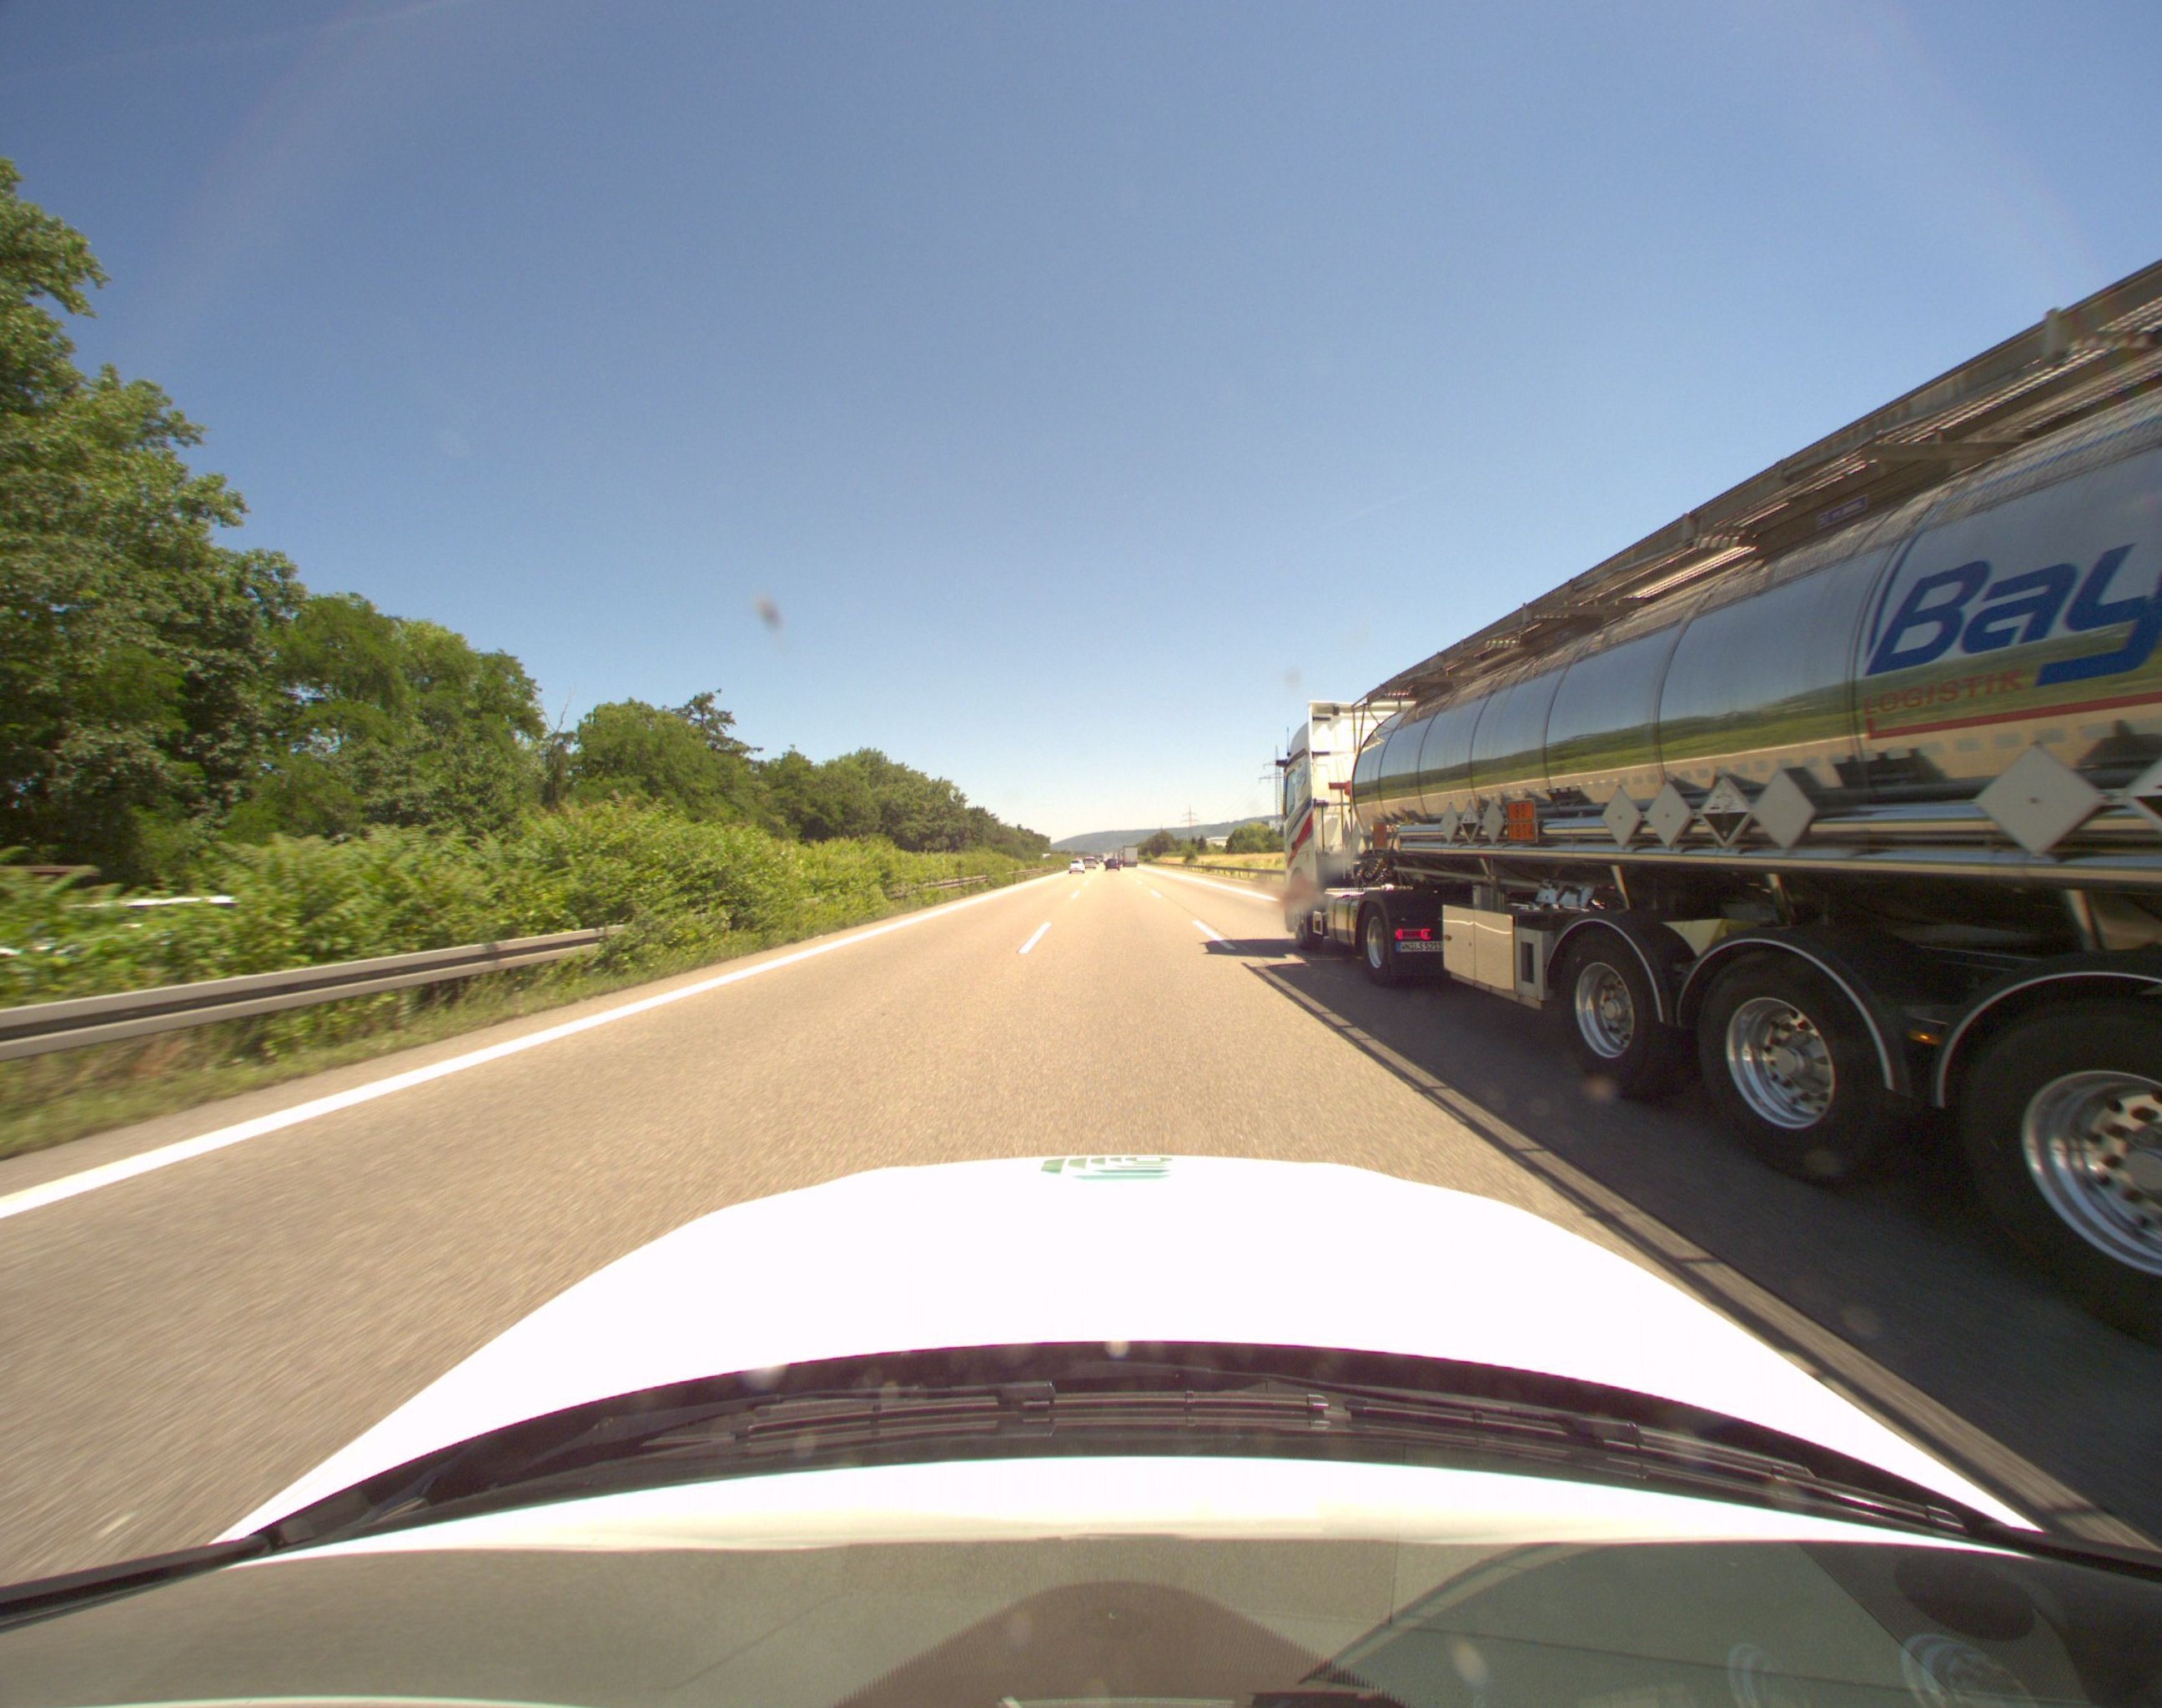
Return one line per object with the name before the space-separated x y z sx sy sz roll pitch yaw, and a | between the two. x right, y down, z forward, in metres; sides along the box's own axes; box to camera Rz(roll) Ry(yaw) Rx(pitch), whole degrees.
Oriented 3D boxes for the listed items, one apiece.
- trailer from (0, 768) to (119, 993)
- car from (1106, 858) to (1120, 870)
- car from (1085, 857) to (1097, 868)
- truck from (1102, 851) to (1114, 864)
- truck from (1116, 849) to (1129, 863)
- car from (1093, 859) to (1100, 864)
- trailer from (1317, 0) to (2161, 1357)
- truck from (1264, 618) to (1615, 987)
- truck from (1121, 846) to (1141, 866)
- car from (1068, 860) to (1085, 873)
trailer | -19.416 0.441 8.220 2.580 3.705 13.699 0 0 3
car | 4.193 1.327 107.345 1.877 1.515 4.002 0 0 2
car | 1.542 1.369 127.977 1.845 1.633 4.002 0 0 2
truck | 7.404 1.029 221.872 3.086 3.474 11.545 0 0 1
truck | 11.033 0.541 216.386 3.086 3.474 11.545 0 0 1
car | 4.525 2.138 231.969 1.845 1.633 4.002 0 0 2
trailer | 4.508 -0.578 6.021 2.570 4.074 11.106 0 0 1
truck | 4.666 -0.567 12.189 2.564 4.072 6.394 0 0 1
truck | 9.584 0.374 157.244 3.253 3.857 11.634 0 0 1
car | -0.479 1.360 90.171 1.799 1.468 4.002 0 0 2
